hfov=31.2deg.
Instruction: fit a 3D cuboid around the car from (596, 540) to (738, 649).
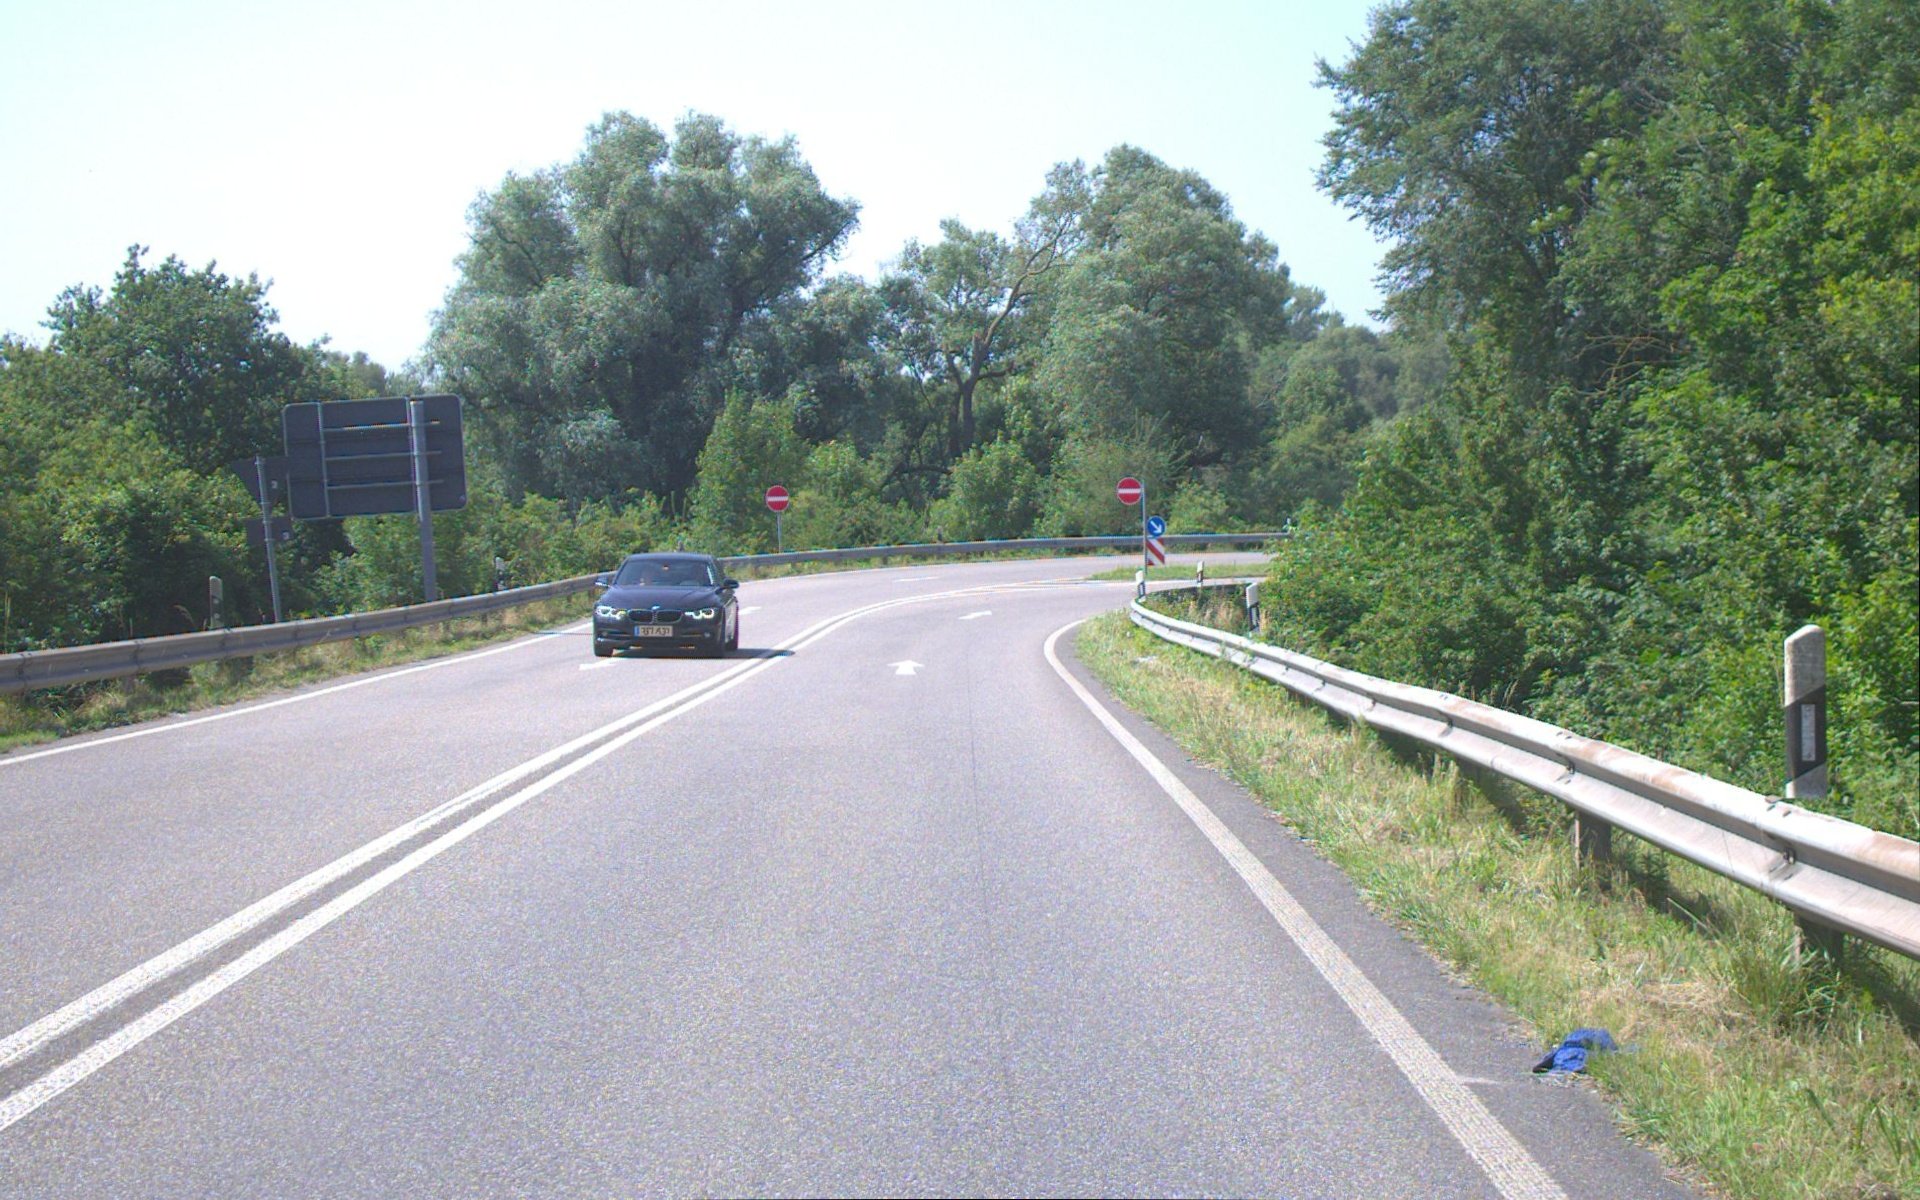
[{"bbox_3d":[-4.102,-0.107,48.629,1.607,1.468,4.220,0,1,0],"label":"car"}]
